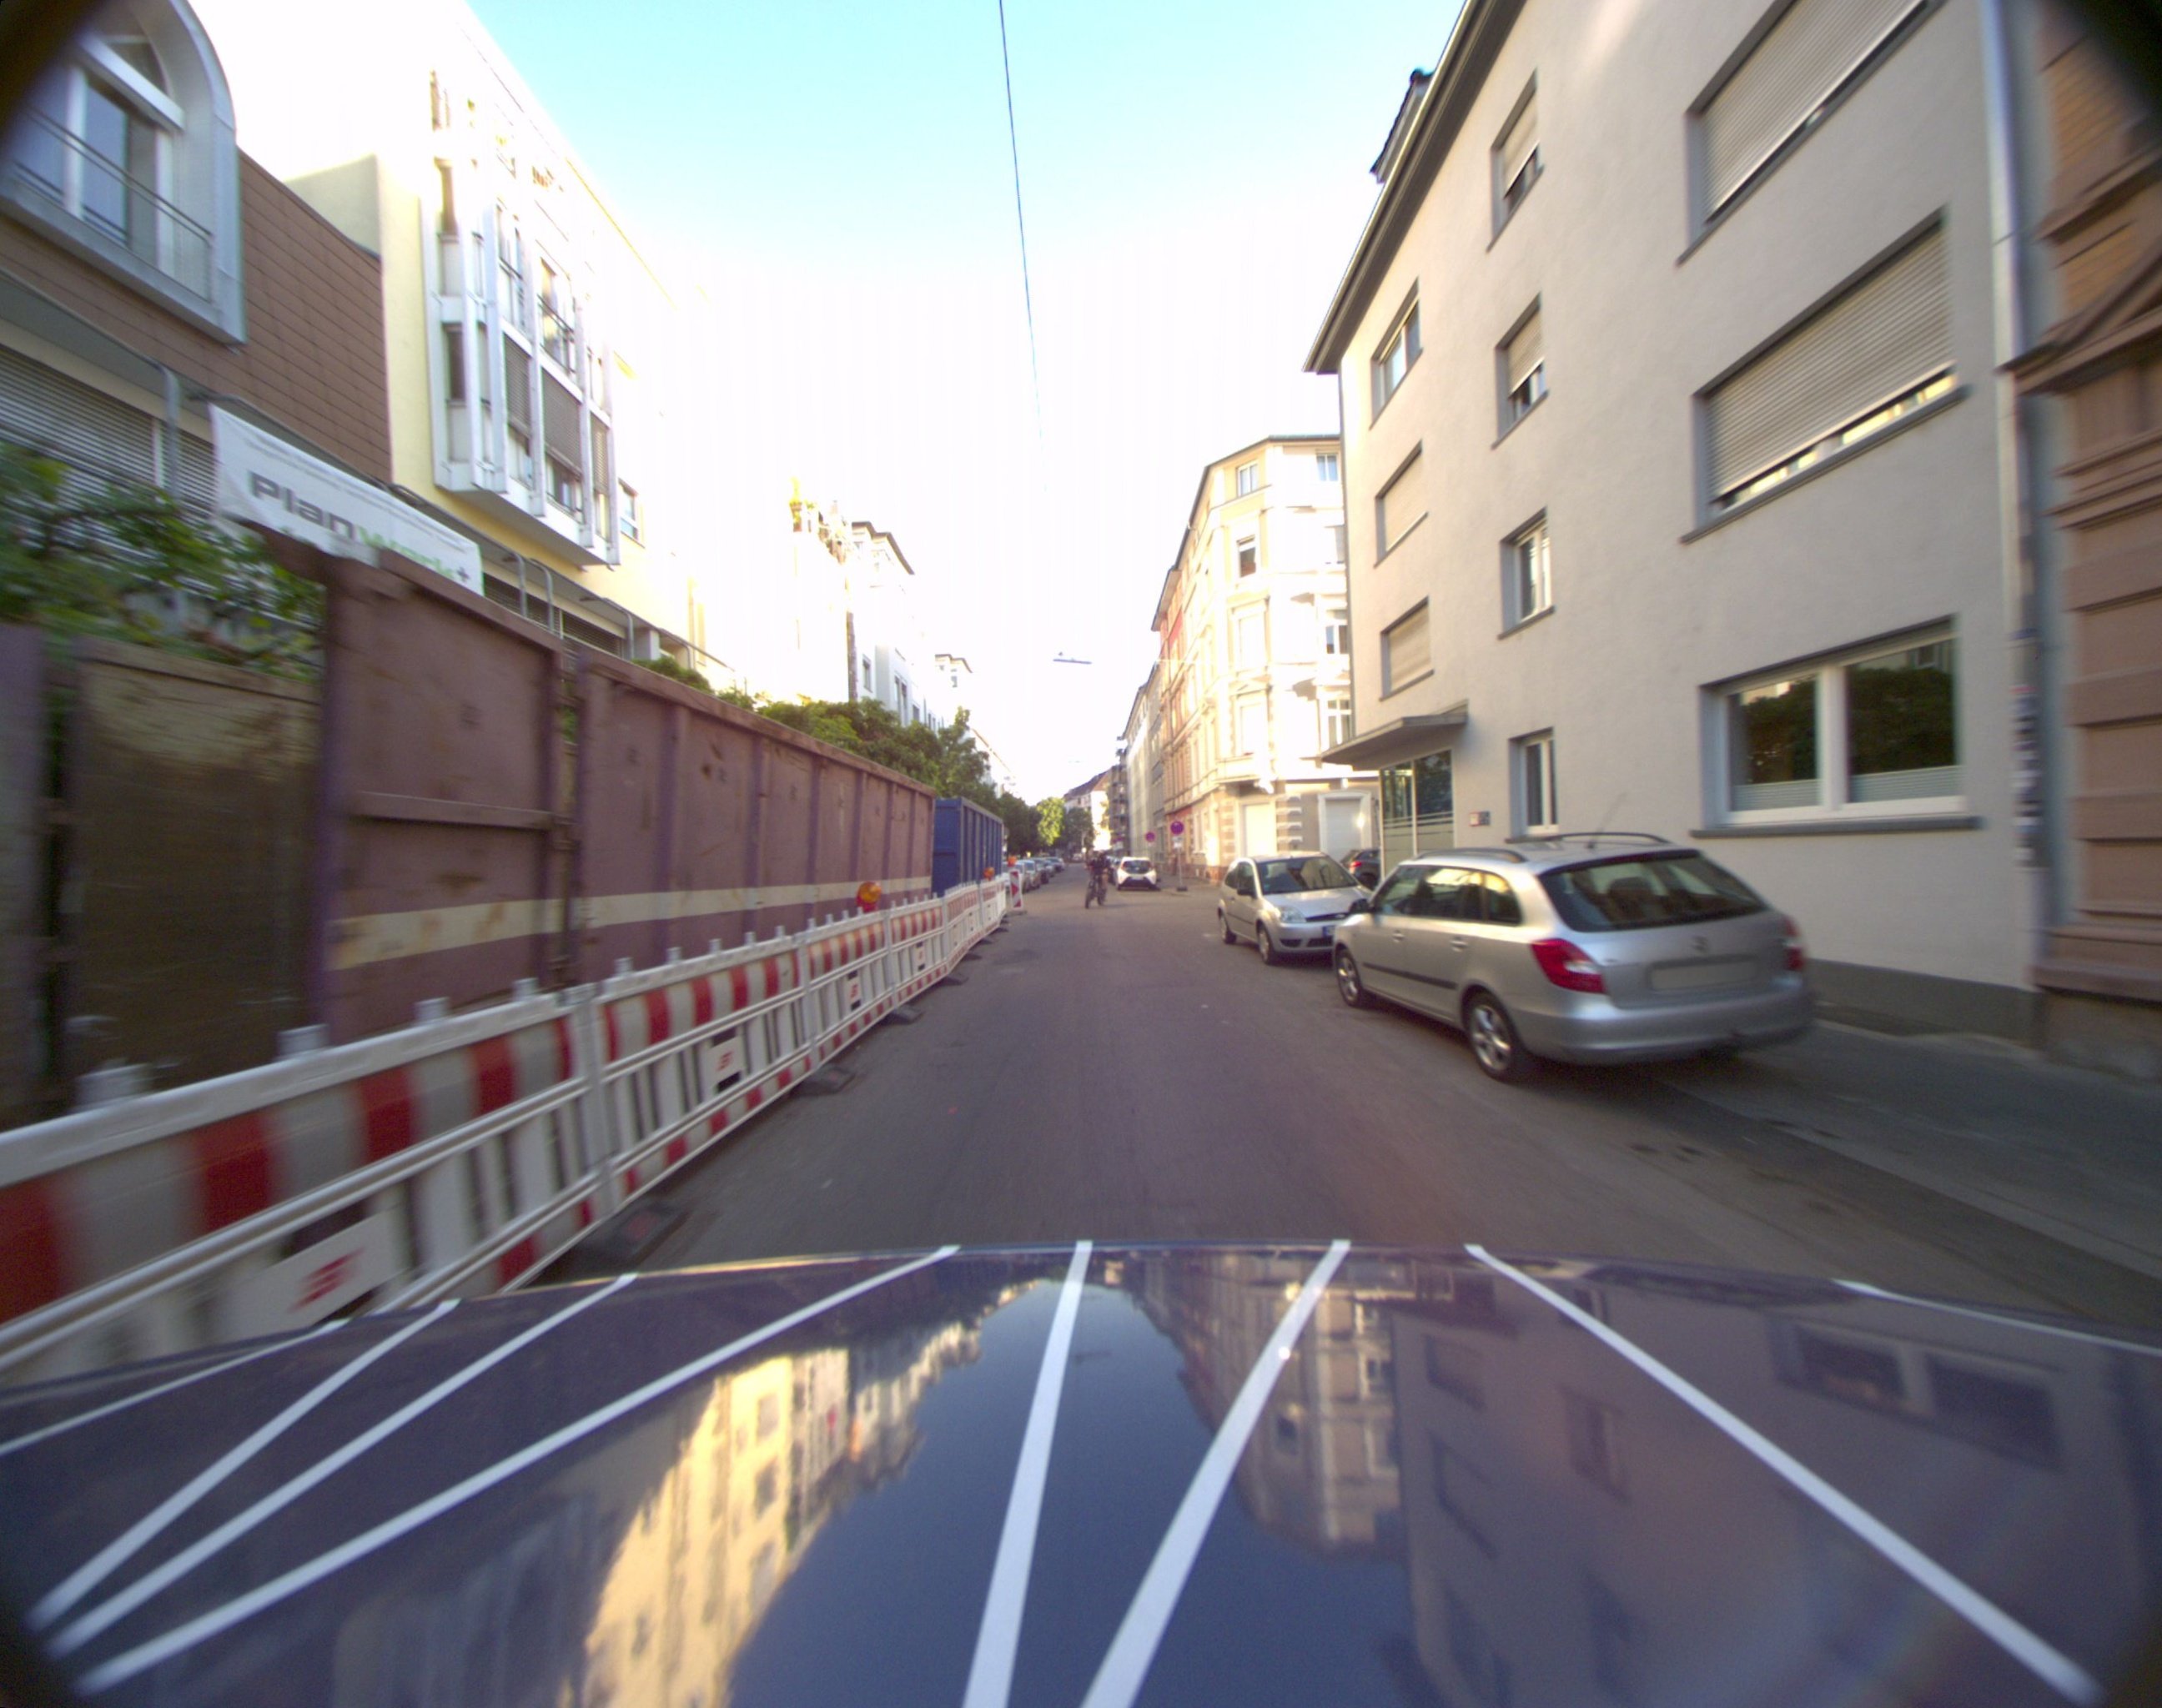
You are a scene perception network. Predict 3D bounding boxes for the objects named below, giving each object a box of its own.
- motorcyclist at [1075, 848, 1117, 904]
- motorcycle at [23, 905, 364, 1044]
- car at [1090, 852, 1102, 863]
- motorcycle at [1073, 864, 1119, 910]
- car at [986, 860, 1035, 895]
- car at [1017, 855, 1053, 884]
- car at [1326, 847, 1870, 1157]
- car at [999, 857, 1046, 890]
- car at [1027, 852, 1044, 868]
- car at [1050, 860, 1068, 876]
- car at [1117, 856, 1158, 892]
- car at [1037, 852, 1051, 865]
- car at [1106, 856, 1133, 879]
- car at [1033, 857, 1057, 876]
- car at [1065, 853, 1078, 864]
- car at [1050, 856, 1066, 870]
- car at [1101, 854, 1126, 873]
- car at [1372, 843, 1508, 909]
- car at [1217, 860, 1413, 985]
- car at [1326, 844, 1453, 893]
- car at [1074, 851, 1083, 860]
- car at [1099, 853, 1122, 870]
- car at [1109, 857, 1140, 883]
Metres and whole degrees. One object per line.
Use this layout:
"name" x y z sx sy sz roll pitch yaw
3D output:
"motorcyclist" 0.447 0.652 22.266 0.873 1.558 1.001 -4 -1 18
"motorcycle" -10.389 1.330 9.096 0.871 1.215 2.460 -1 1 18
"car" 2.728 0.557 134.976 1.998 1.783 4.000 -2 0 0
"motorcycle" 0.448 0.949 22.209 0.805 1.242 1.701 -4 -2 18
"car" -3.234 1.048 35.461 1.638 1.439 4.067 -2 0 3
"car" -2.942 0.947 49.141 1.863 1.679 4.390 -2 0 2
"car" 3.288 0.772 5.768 1.559 1.500 3.597 -5 0 -1
"car" -3.031 0.973 40.186 1.912 1.576 4.001 -2 0 3
"car" -6.231 0.830 104.070 1.999 2.002 3.999 -2 0 -1
"car" -2.364 1.506 82.056 1.856 1.649 3.999 -2 0 -2
"car" 2.541 0.874 34.980 1.688 1.487 3.844 2 1 2
"car" -5.829 0.661 121.283 1.999 2.002 3.999 -2 0 -1
"car" 2.550 0.893 51.500 1.537 1.490 4.195 0 0 -1
"car" -3.033 1.038 65.393 1.855 1.480 3.999 -2 0 -1
"car" -1.499 0.721 123.729 1.998 1.783 4.000 -2 0 0
"car" -2.850 1.097 94.341 1.903 1.509 4.223 -2 0 -1
"car" 2.620 0.745 62.444 1.662 1.420 4.352 -3 0 -1
"car" 9.403 0.555 20.049 2.761 1.556 1.648 -2 0 1
"car" 3.174 0.842 11.027 1.636 1.421 3.554 -2 0 -1
"car" 10.479 0.484 25.917 3.588 1.471 1.686 -2 0 -5
"car" -0.551 0.271 165.073 1.998 1.783 4.000 -2 0 0
"car" 2.959 0.728 77.482 1.999 1.576 4.493 -3 0 -1
"car" 2.549 0.939 45.370 1.589 1.407 3.912 2 0 0
